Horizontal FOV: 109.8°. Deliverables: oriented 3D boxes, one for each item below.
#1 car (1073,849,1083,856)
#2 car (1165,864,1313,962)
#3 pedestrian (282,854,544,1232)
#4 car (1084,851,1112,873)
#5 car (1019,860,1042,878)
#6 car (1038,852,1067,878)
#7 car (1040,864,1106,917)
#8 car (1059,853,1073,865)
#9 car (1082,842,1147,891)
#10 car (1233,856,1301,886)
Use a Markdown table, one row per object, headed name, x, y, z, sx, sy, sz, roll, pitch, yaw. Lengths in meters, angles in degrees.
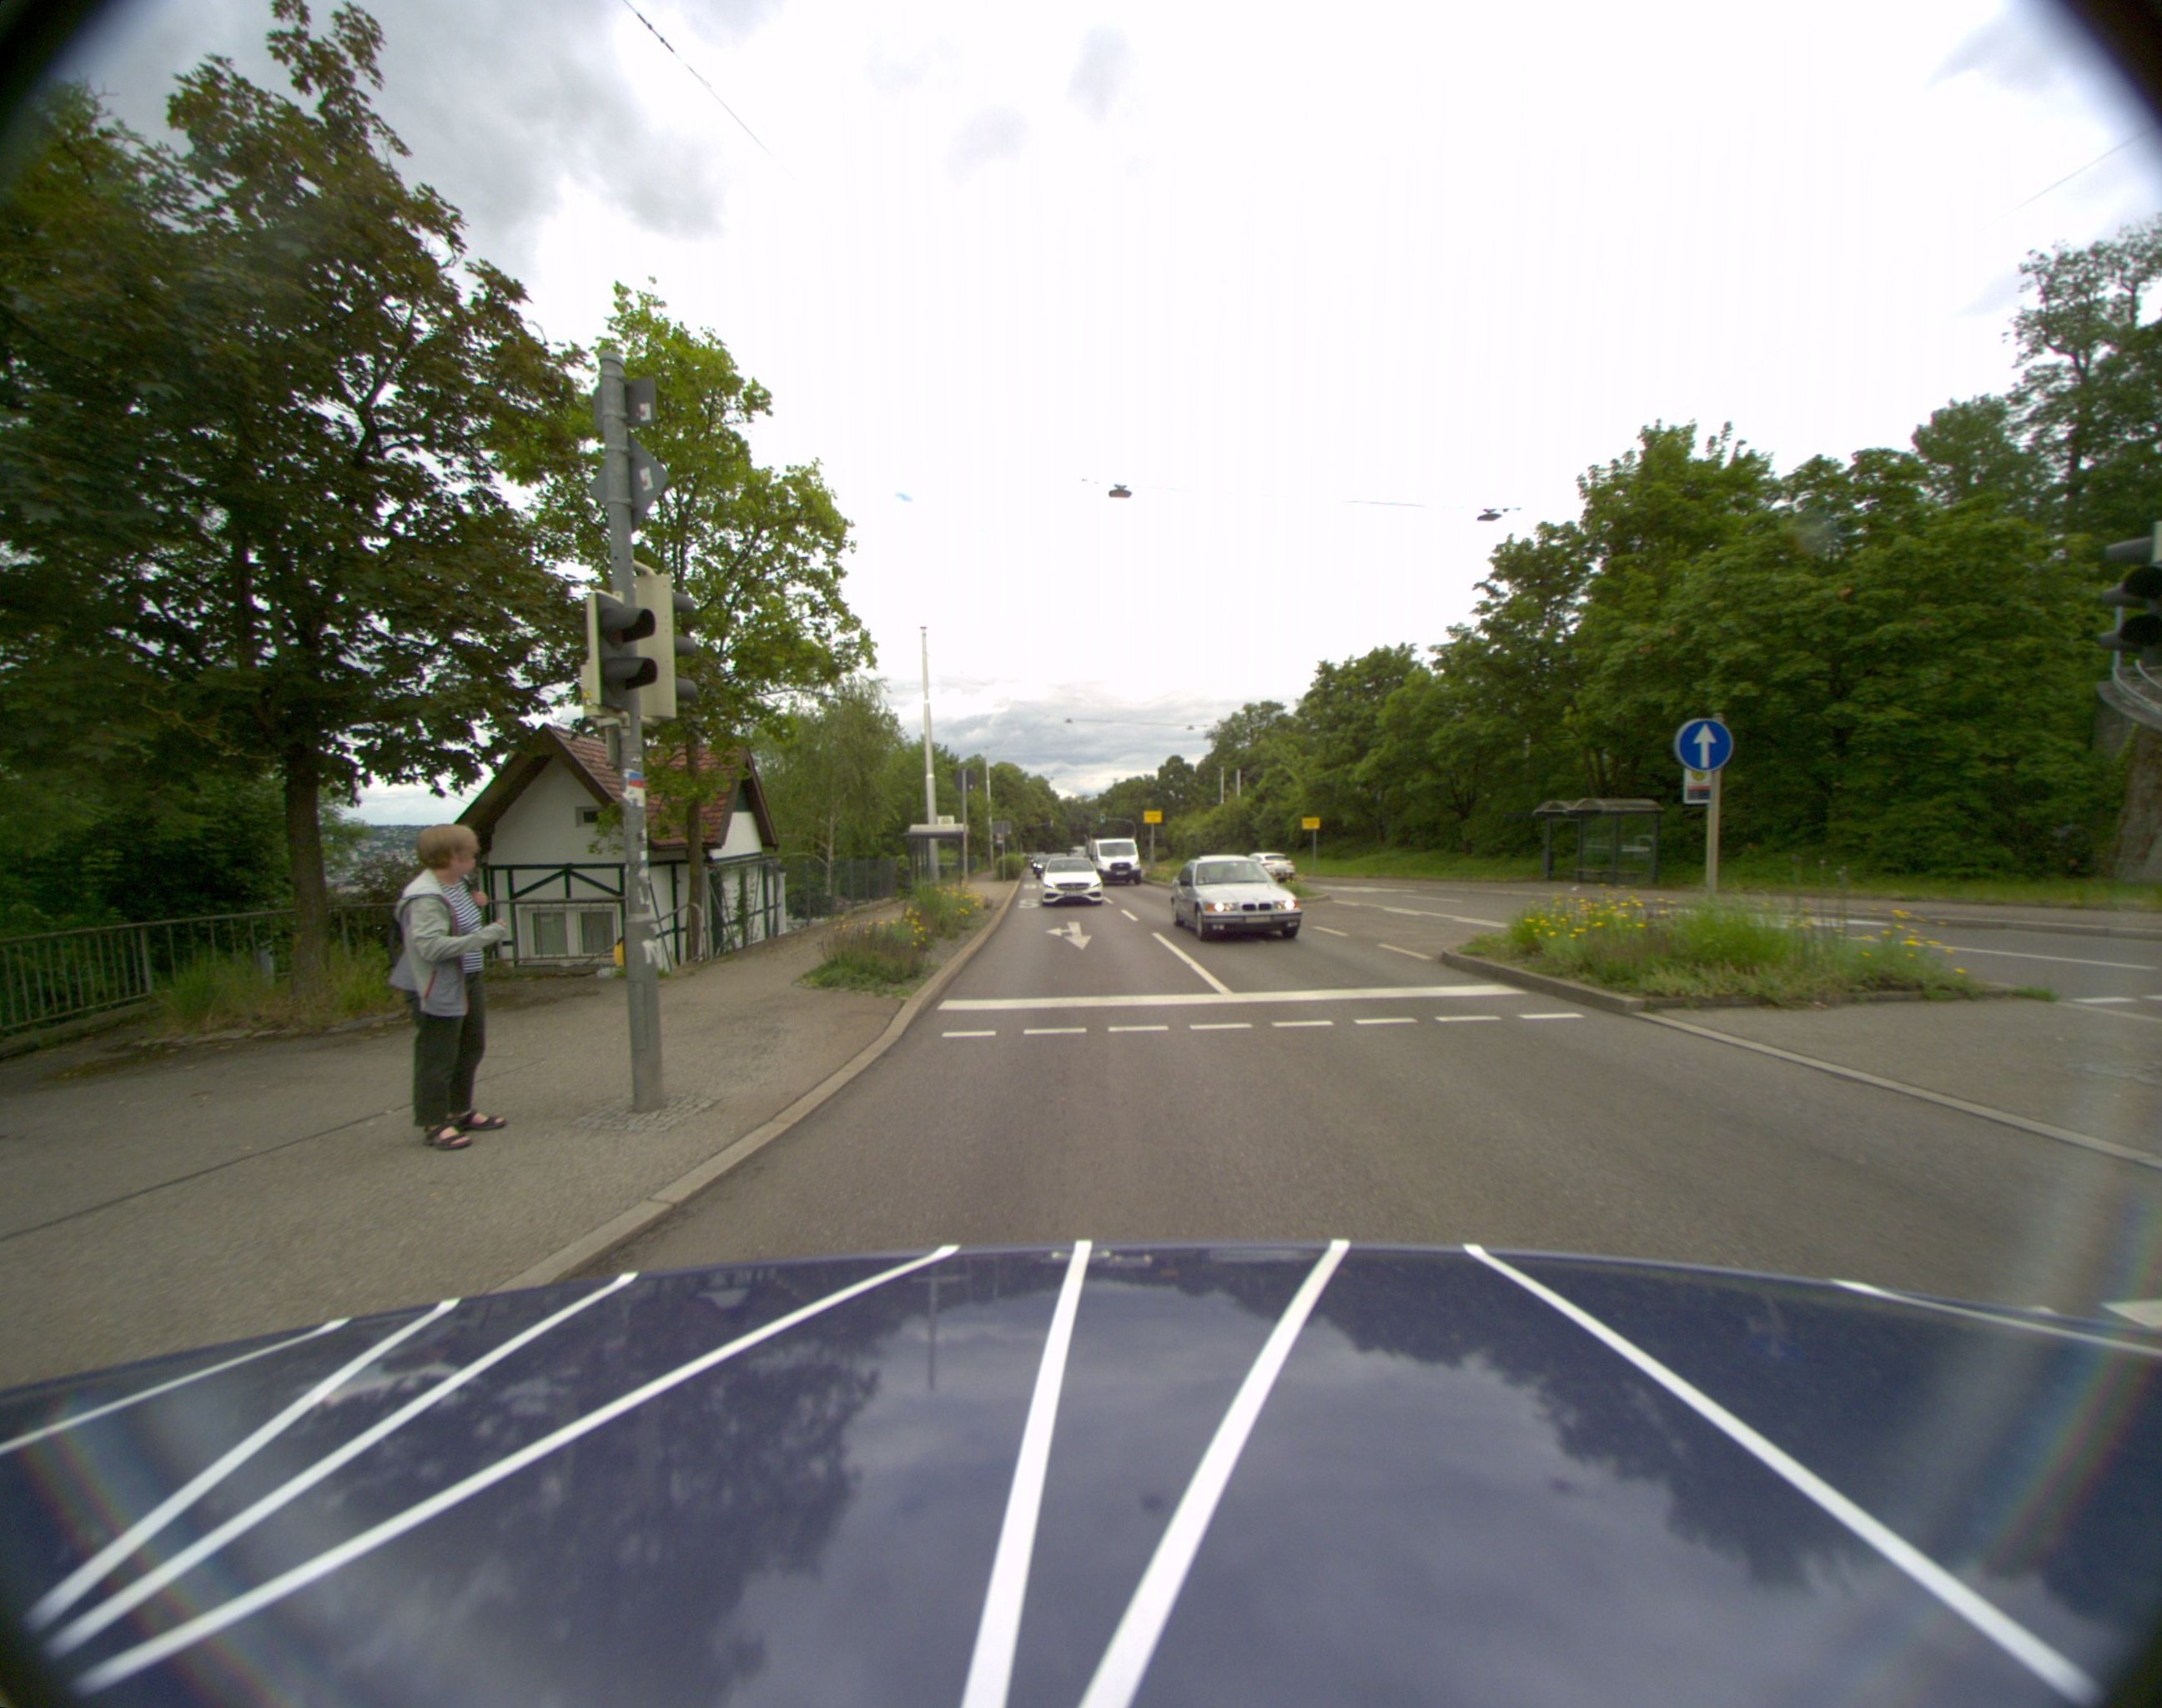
| name | x | y | z | sx | sy | sz | roll | pitch | yaw |
| --- | --- | --- | --- | --- | --- | --- | --- | --- | --- |
| car | -0.697 | -0.358 | 211.007 | 1.761 | 1.863 | 4.619 | 0 | 0 | 13 |
| car | 2.708 | 0.947 | 14.102 | 1.757 | 1.385 | 4.614 | -2 | 0 | 0 |
| pedestrian | -3.243 | 0.849 | 3.758 | 0.619 | 1.679 | 0.695 | 0 | 2 | 5 |
| car | 1.180 | 0.556 | 55.367 | 1.678 | 1.532 | 4.551 | 0 | 0 | -3 |
| car | -4.109 | 1.183 | 61.664 | 1.808 | 1.385 | 4.282 | -1 | 0 | -5 |
| car | -1.867 | 0.643 | 48.592 | 1.678 | 1.532 | 4.612 | -1 | 0 | -5 |
| car | -0.340 | 1.059 | 23.518 | 1.808 | 1.385 | 4.282 | 0 | 0 | -4 |
| car | -2.036 | 0.600 | 101.261 | 1.678 | 1.532 | 4.613 | -1 | 0 | -3 |
| car | 1.516 | 0.538 | 37.503 | 2.254 | 2.114 | 6.665 | -1 | 1 | -5 |
| car | 9.180 | 0.795 | 37.876 | 1.723 | 1.385 | 4.605 | -1 | 0 | -7 |
